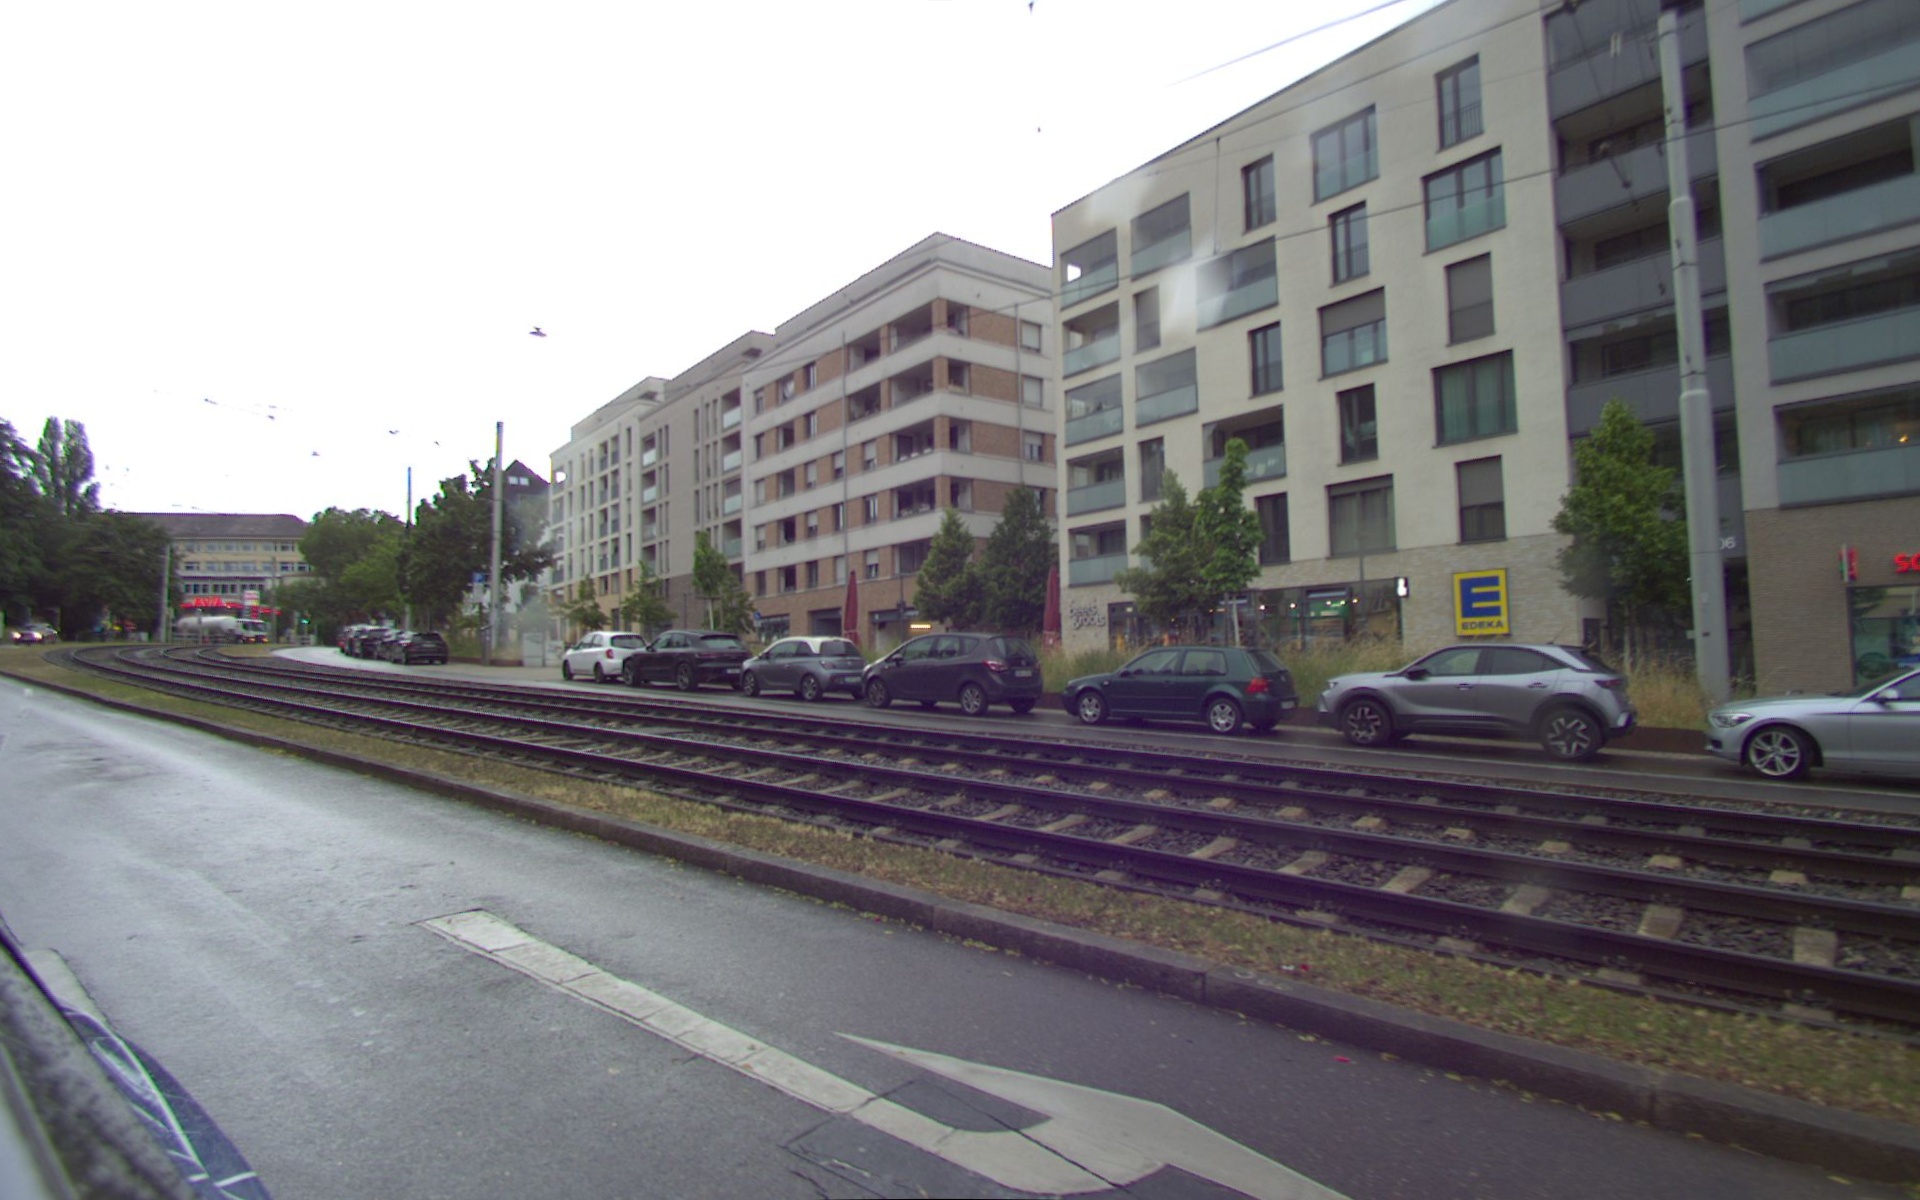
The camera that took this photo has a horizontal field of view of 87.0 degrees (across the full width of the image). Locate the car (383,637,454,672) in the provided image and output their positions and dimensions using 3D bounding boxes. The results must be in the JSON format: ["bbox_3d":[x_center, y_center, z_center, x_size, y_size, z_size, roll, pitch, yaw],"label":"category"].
[{"bbox_3d":[-24.192,2.398,45.153,1.941,1.442,4.206,2,-3,-40],"label":"car"}]

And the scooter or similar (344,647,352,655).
[{"bbox_3d":[-91.723,7.596,151.572,0.395,1.202,1.363,1,0,-2],"label":"scooter or similar"}]

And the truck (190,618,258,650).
[{"bbox_3d":[-82.517,3.889,113.585,6.024,3.426,2.844,3,-4,-35],"label":"truck"}]

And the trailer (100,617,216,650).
[{"bbox_3d":[-87.054,3.700,110.205,9.674,3.422,2.820,3,-4,-37],"label":"trailer"}]

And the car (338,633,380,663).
[{"bbox_3d":[-34.750,2.747,58.462,1.708,1.657,4.543,2,-3,-35],"label":"car"}]

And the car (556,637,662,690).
[{"bbox_3d":[-10.756,1.901,30.927,1.744,1.490,3.739,4,-4,-41],"label":"car"}]

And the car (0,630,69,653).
[{"bbox_3d":[-63.451,2.848,69.318,1.860,1.502,3.858,2,-3,-12],"label":"car"}]

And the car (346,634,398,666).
[{"bbox_3d":[-31.231,2.607,53.691,1.779,1.596,4.708,2,-3,-37],"label":"car"}]

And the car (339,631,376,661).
[{"bbox_3d":[-37.683,2.869,63.269,1.640,1.761,4.268,2,-3,-35],"label":"car"}]

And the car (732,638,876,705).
[{"bbox_3d":[-3.750,1.668,24.094,3.450,1.446,1.532,-1,-4,42],"label":"car"}]

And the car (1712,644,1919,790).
[{"bbox_3d":[10.953,1.285,11.285,4.078,1.515,1.755,-1,-2,38],"label":"car"}]

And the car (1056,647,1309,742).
[{"bbox_3d":[3.700,1.523,17.271,4.009,1.373,1.532,-1,-2,42],"label":"car"}]

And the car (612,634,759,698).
[{"bbox_3d":[-7.524,1.752,27.502,4.405,1.573,1.746,-1,-4,42],"label":"car"}]

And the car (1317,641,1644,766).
[{"bbox_3d":[7.360,1.362,14.487,3.916,1.515,1.755,-1,-2,38],"label":"car"}]

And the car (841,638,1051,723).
[{"bbox_3d":[-0.367,1.554,20.682,4.317,1.525,1.701,-1,-2,42],"label":"car"}]

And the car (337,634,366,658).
[{"bbox_3d":[-40.279,3.067,66.991,1.449,1.543,2.940,2,-3,-28],"label":"car"}]

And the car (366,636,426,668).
[{"bbox_3d":[-27.905,2.522,50.003,1.716,1.500,4.262,2,-3,-42],"label":"car"}]
